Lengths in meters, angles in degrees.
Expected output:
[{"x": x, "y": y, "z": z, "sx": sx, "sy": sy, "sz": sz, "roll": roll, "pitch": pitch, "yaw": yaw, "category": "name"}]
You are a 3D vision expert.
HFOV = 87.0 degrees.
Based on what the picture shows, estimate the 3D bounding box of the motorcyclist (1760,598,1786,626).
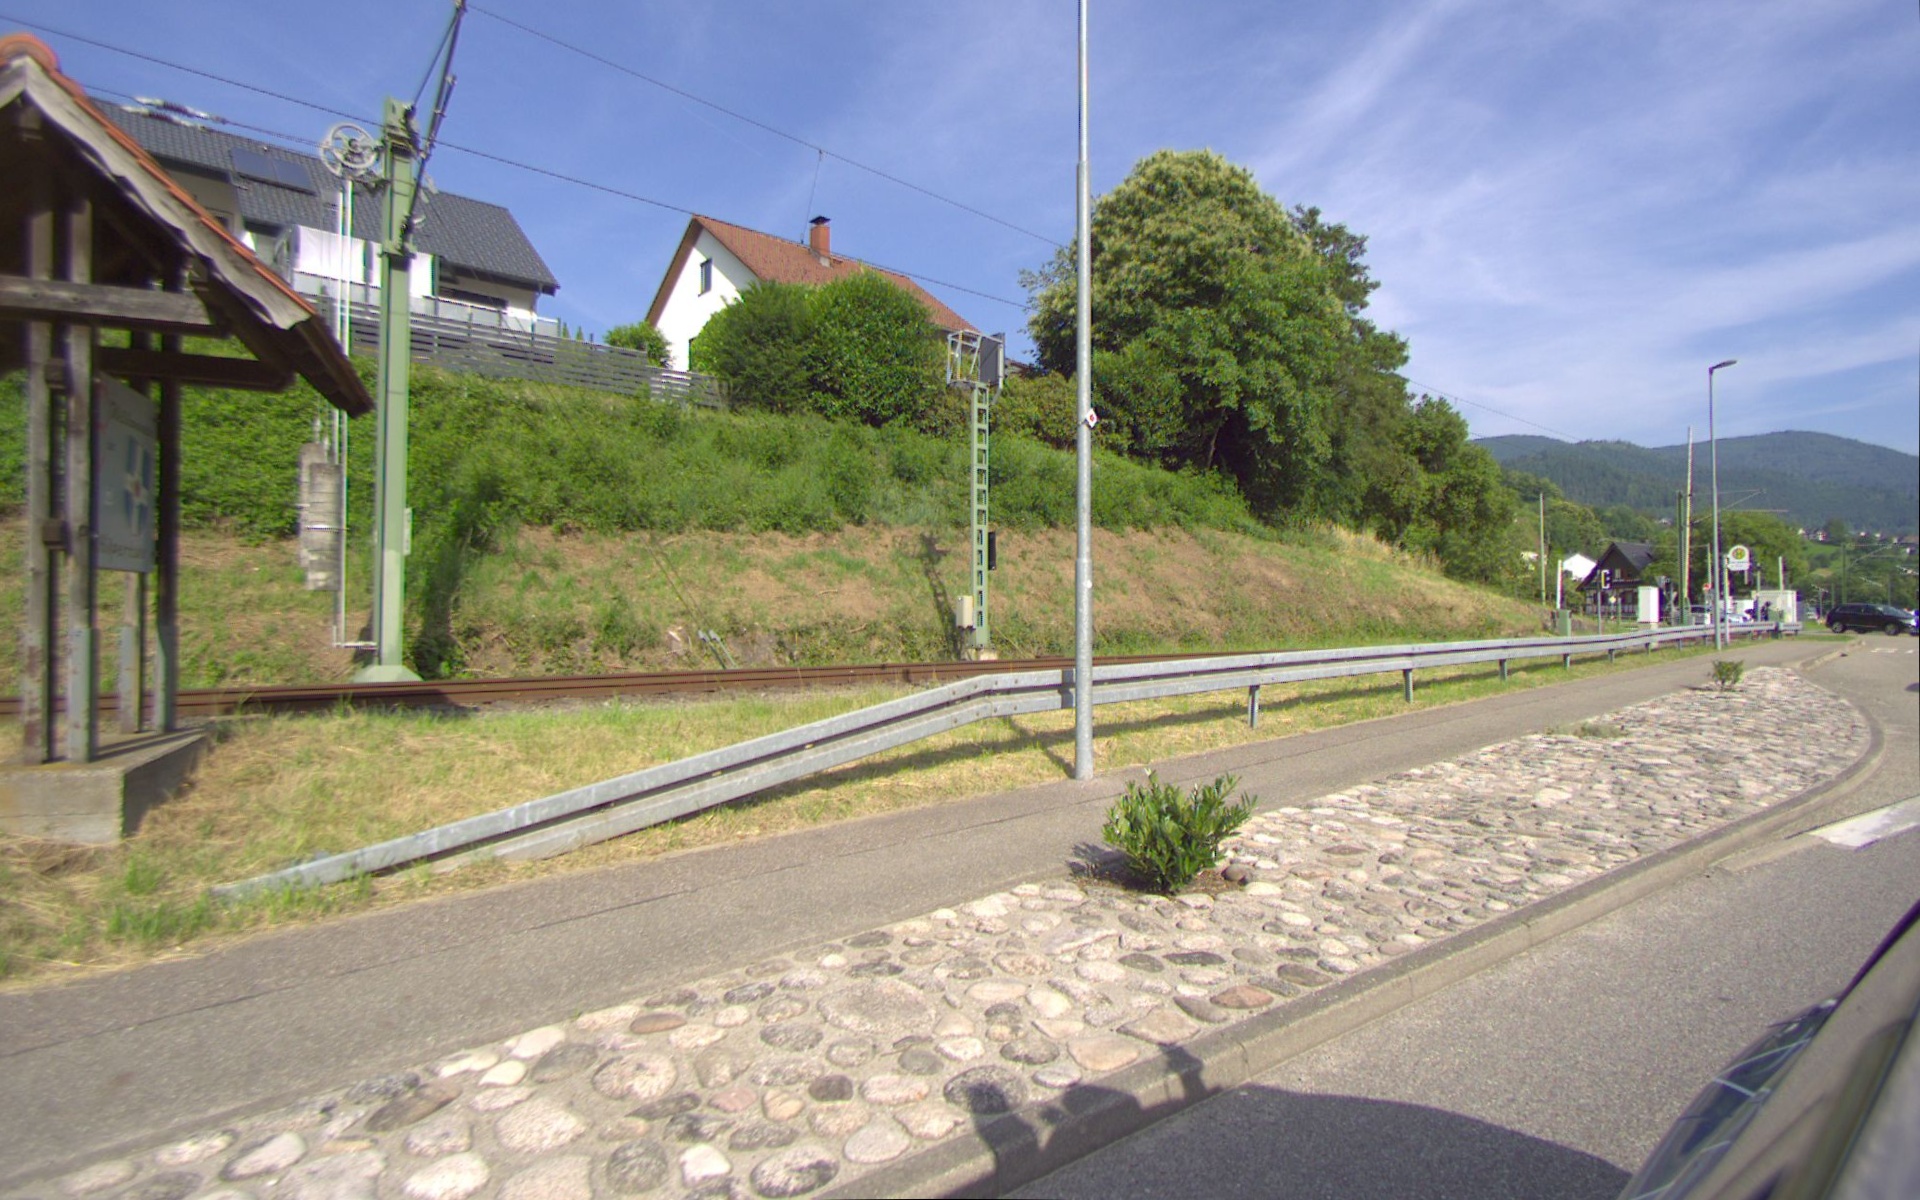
[{"x": 47.226, "y": 0.722, "z": 58.813, "sx": 0.750, "sy": 1.617, "sz": 0.910, "roll": 1, "pitch": -2, "yaw": -26, "category": "motorcyclist"}]

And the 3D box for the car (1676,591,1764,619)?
[{"x": 48.449, "y": 0.364, "z": 64.592, "sx": 1.798, "sy": 1.708, "sz": 4.129, "roll": 1, "pitch": -2, "yaw": -30, "category": "car"}]

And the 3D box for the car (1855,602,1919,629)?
[{"x": 54.109, "y": 0.887, "z": 57.465, "sx": 1.809, "sy": 1.488, "sz": 4.736, "roll": 1, "pitch": 1, "yaw": -40, "category": "car"}]

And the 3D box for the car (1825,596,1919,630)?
[{"x": 49.013, "y": 0.680, "z": 53.536, "sx": 1.890, "sy": 1.680, "sz": 4.750, "roll": 3, "pitch": 0, "yaw": -12, "category": "car"}]

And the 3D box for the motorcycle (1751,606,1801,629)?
[{"x": 47.286, "y": 1.018, "z": 58.703, "sx": 0.782, "sy": 1.270, "sz": 2.103, "roll": 1, "pitch": -2, "yaw": -25, "category": "motorcycle"}]
